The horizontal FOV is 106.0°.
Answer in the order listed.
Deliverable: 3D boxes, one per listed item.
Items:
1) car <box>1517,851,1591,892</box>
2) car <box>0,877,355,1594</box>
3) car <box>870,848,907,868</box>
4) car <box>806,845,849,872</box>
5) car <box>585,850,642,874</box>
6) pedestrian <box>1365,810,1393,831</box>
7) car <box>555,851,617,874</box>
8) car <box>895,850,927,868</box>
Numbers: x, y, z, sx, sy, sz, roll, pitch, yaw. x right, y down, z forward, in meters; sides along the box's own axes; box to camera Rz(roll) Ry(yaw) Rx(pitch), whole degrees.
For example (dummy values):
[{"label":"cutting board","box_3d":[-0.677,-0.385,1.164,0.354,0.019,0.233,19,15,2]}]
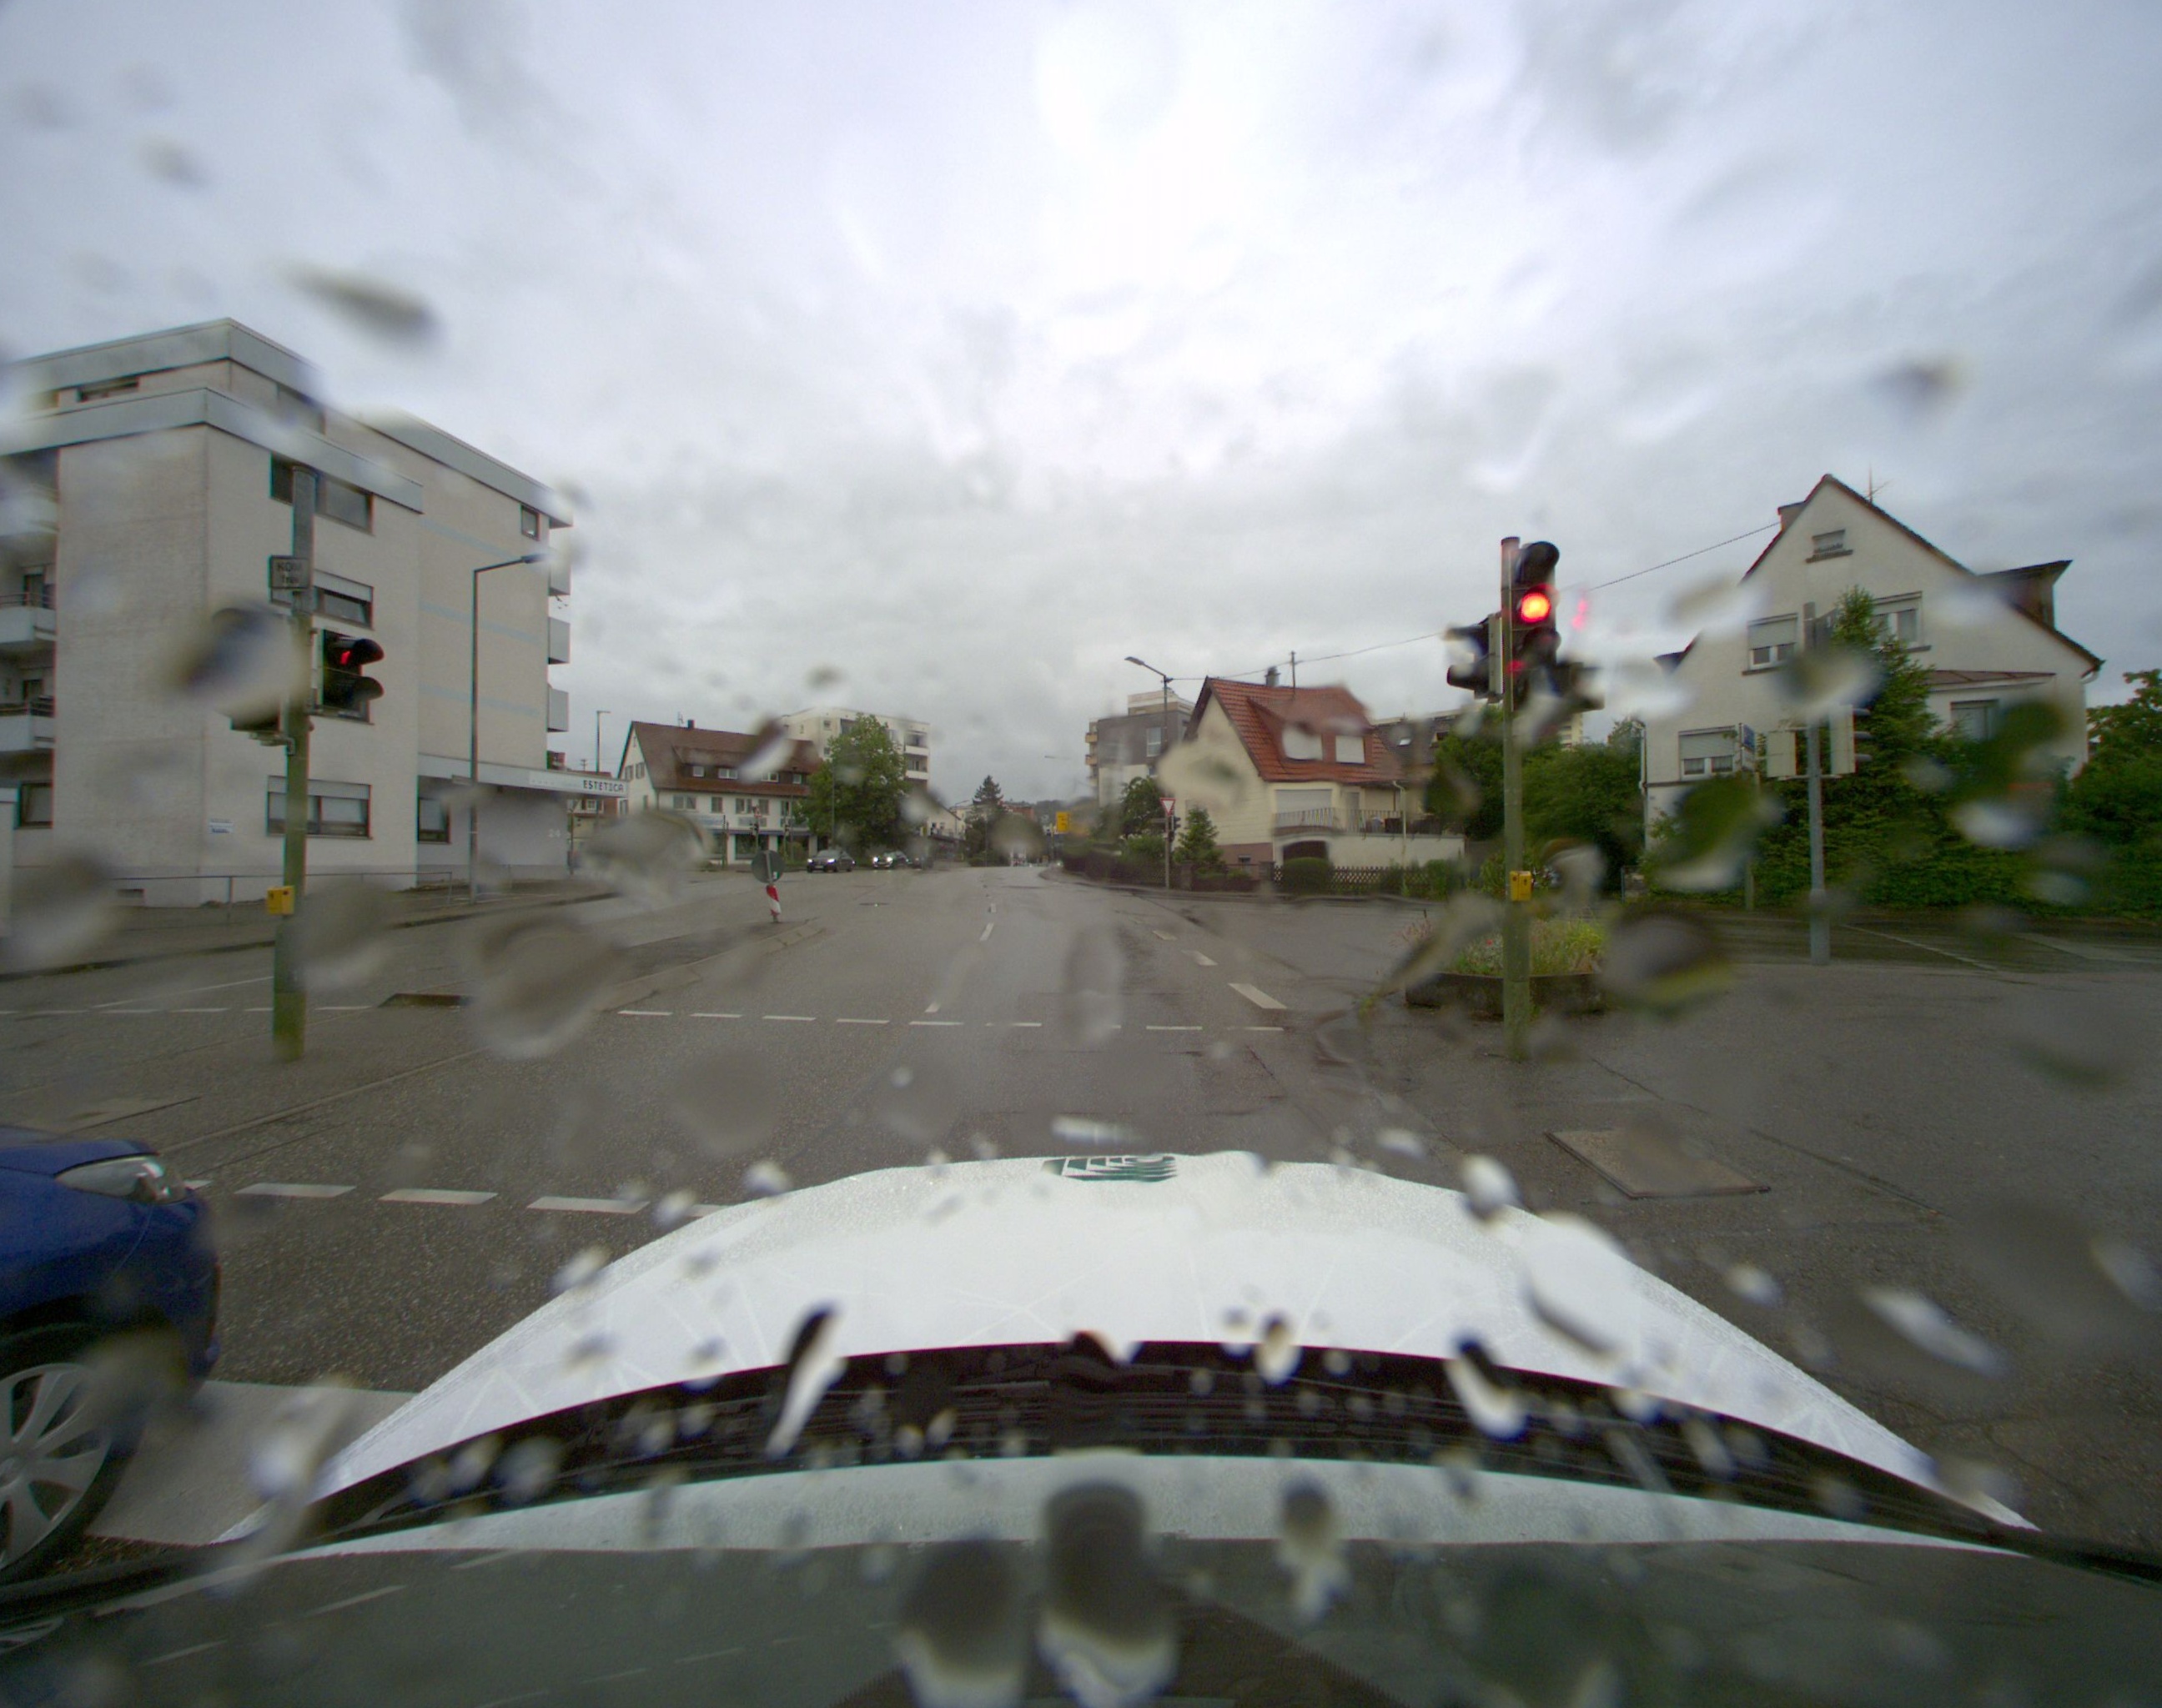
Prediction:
[{"label":"car","box_3d":[17.111,0.602,29.380,1.794,1.362,4.025,-1,-1,37]},{"label":"car","box_3d":[-2.951,0.788,0.734,1.499,1.413,3.365,0,0,2]},{"label":"car","box_3d":[-15.279,0.333,64.732,1.960,1.512,3.999,0,-1,0]},{"label":"car","box_3d":[-16.102,0.311,51.931,1.994,1.625,4.523,0,-1,-10]},{"label":"car","box_3d":[-38.442,0.636,66.988,3.706,1.920,1.864,0,-1,-44]},{"label":"pedestrian","box_3d":[12.771,-1.429,34.865,0.918,0.883,0.632,0,-3,-18]},{"label":"car","box_3d":[-41.216,0.675,67.811,4.093,1.843,1.864,0,-1,-44]},{"label":"car","box_3d":[-14.960,0.444,71.803,1.873,1.597,4.184,0,-1,0]}]
